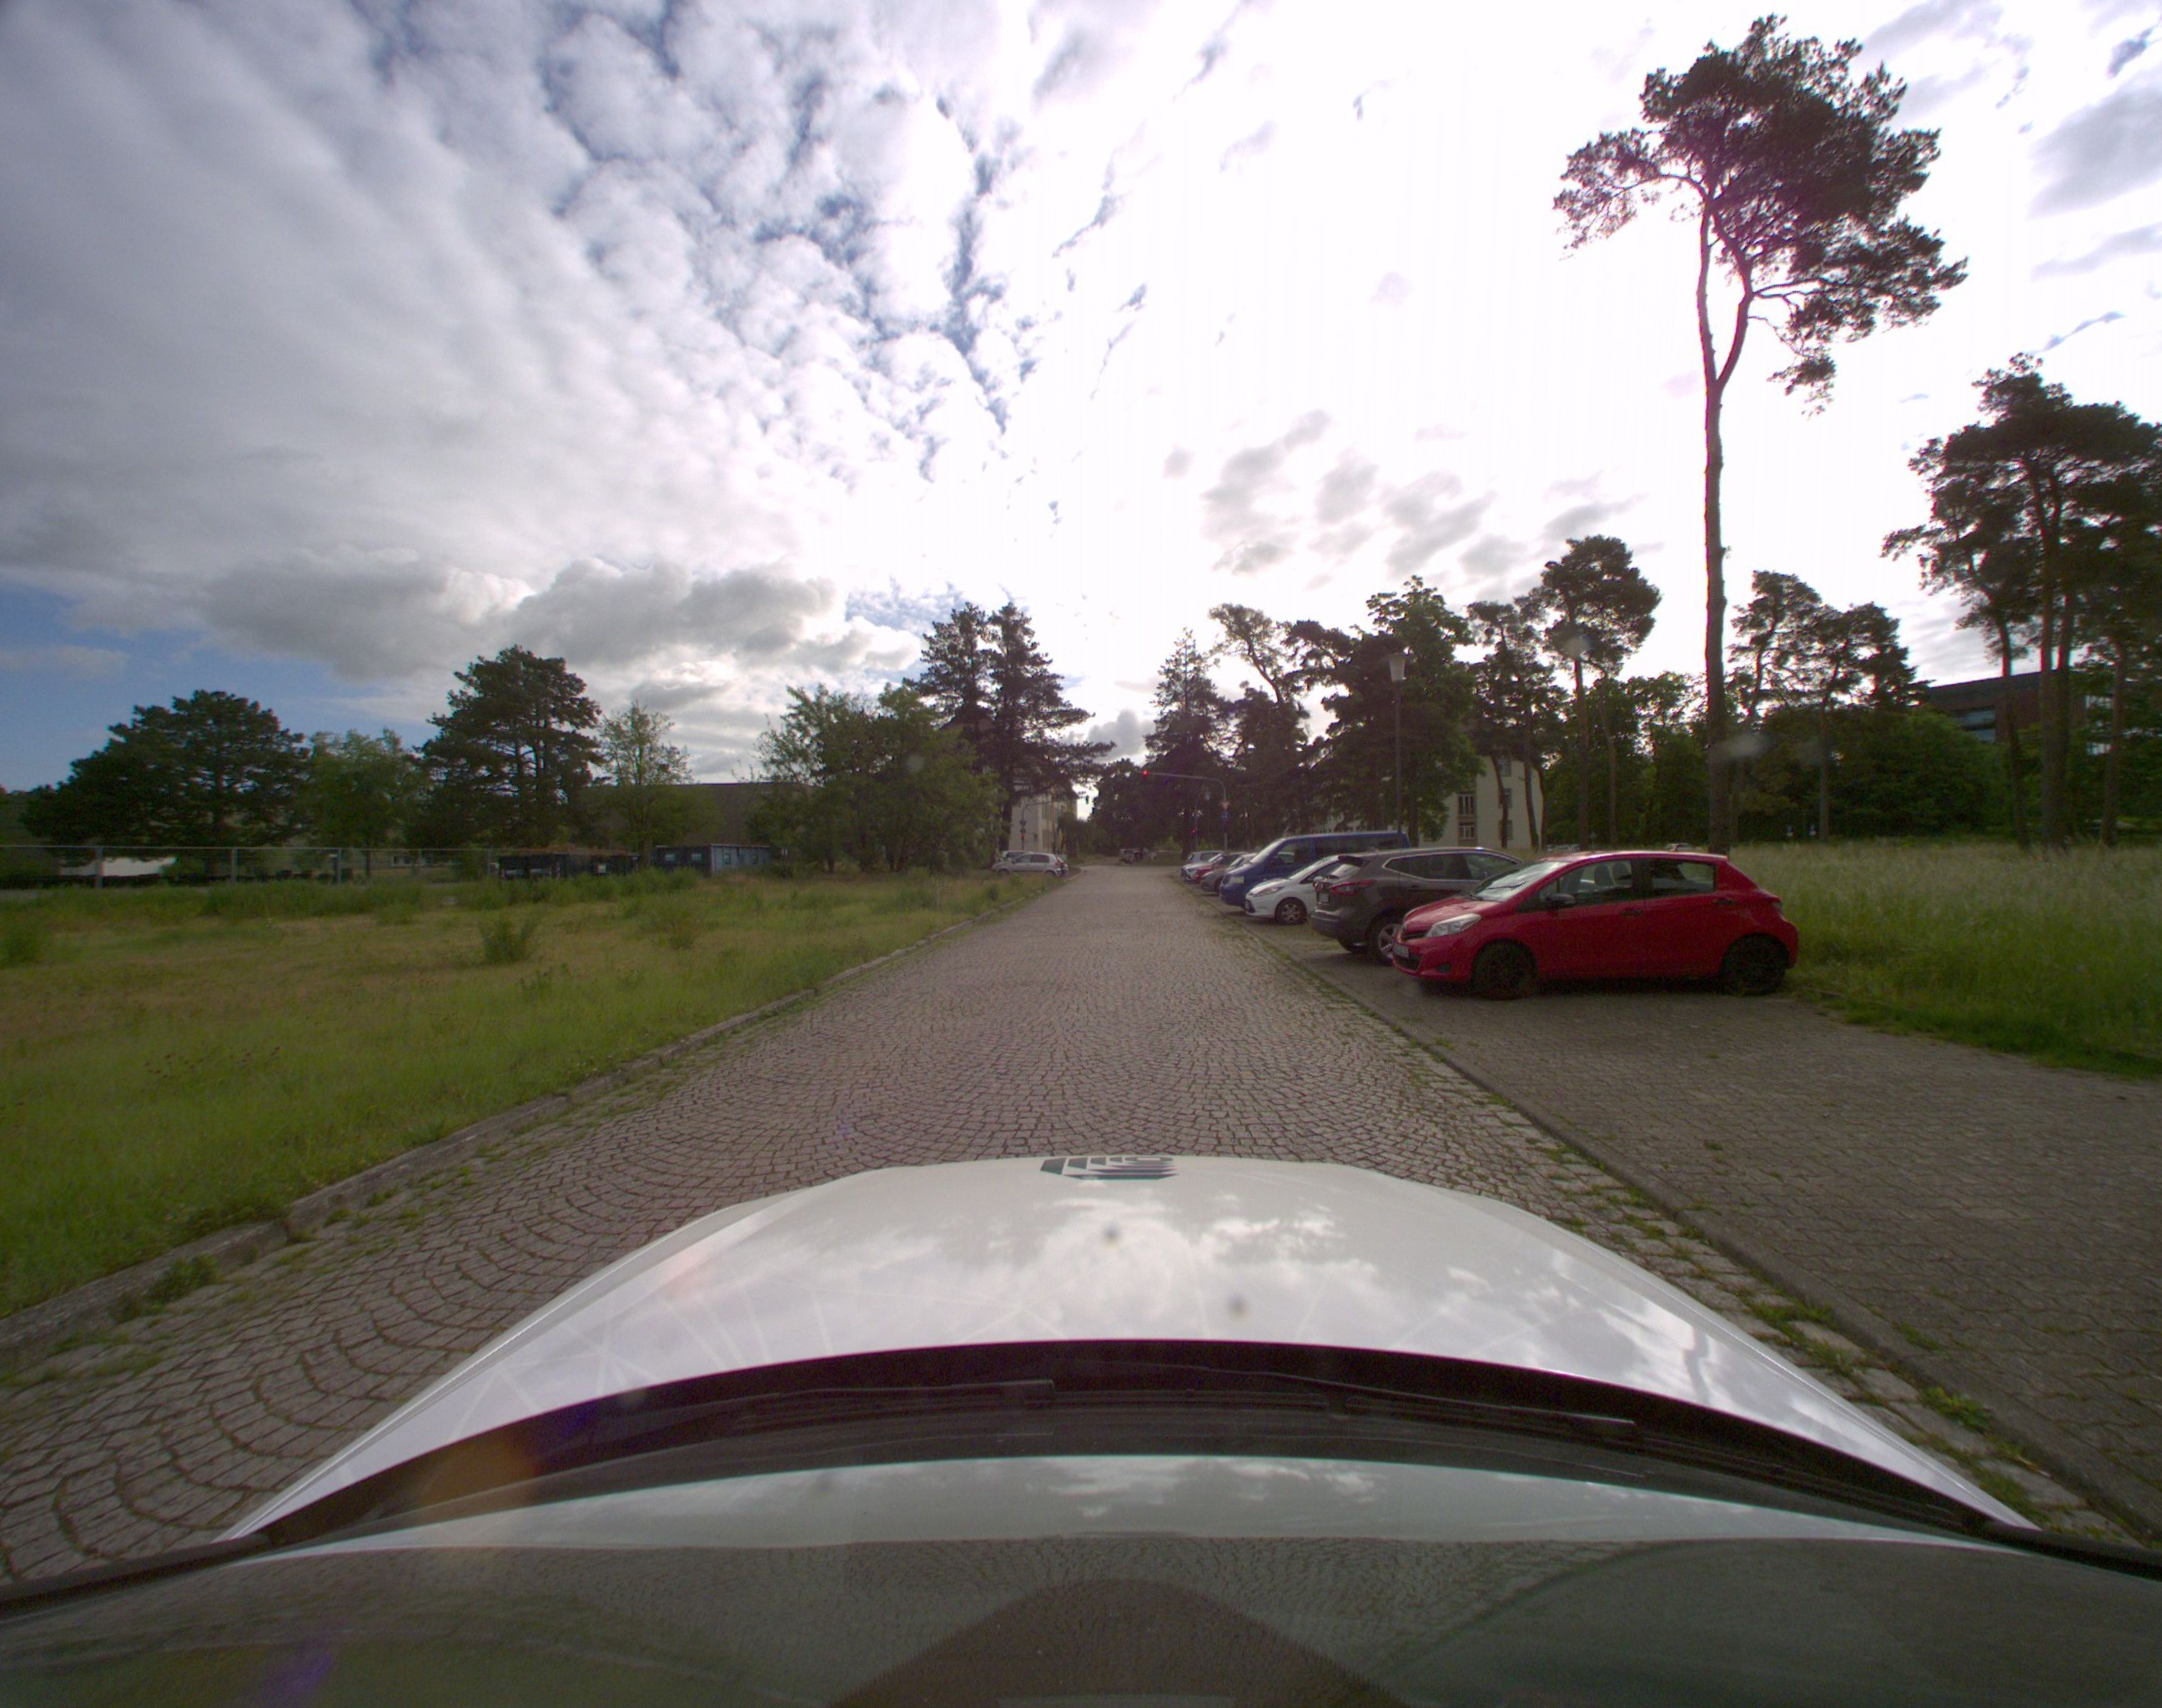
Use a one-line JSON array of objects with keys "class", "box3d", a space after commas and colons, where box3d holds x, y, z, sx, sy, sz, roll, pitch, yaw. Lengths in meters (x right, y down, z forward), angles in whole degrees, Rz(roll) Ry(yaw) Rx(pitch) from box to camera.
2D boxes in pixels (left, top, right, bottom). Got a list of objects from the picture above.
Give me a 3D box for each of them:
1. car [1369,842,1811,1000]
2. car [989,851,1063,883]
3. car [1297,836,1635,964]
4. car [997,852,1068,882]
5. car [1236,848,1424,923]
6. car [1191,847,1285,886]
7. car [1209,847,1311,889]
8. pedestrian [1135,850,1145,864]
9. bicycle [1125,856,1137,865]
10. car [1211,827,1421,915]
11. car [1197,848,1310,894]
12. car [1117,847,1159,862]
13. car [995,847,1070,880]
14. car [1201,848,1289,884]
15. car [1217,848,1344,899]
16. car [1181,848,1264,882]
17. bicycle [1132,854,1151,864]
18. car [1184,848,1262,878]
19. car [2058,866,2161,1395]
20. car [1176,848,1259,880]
[{"class": "car", "box3d": [5.406, 0.679, 9.066, 3.776, 1.460, 1.752, -2, 0, 3]}, {"class": "car", "box3d": [-2.927, 0.693, 43.915, 3.809, 1.572, 1.564, -2, 0, 0]}, {"class": "car", "box3d": [5.365, 0.616, 11.742, 4.014, 1.552, 1.751, -2, 0, 0]}, {"class": "car", "box3d": [-2.739, 0.724, 46.328, 3.806, 1.572, 1.565, -2, 0, 2]}, {"class": "car", "box3d": [5.449, 0.668, 18.128, 3.659, 1.449, 1.615, -2, 0, 0]}, {"class": "car", "box3d": [6.610, 0.522, 34.450, 3.658, 1.449, 1.524, -2, 0, 1]}, {"class": "car", "box3d": [6.924, 0.544, 31.722, 3.658, 1.449, 1.524, -2, 0, 1]}, {"class": "pedestrian", "box3d": [6.808, 0.352, 93.881, 1.030, 1.614, 0.757, 0, 0, -2]}, {"class": "bicycle", "box3d": [5.445, 0.670, 89.527, 0.623, 0.945, 1.650, 0, 0, -24]}, {"class": "car", "box3d": [5.844, 0.405, 20.707, 4.737, 1.954, 1.932, -2, 0, 1]}, {"class": "car", "box3d": [6.048, 0.580, 28.771, 3.658, 1.449, 1.524, -2, 0, 1]}, {"class": "car", "box3d": [7.832, 0.096, 111.435, 5.438, 2.013, 2.264, 0, 0, -6]}, {"class": "car", "box3d": [-2.910, 0.560, 49.331, 4.245, 1.840, 1.745, -2, 0, 2]}, {"class": "car", "box3d": [7.333, 0.511, 36.703, 3.658, 1.449, 1.524, -2, 0, 1]}, {"class": "car", "box3d": [6.302, 0.613, 25.973, 3.658, 1.449, 1.524, -2, 0, 1]}, {"class": "car", "box3d": [6.730, 0.515, 38.991, 3.661, 1.421, 1.523, -2, 0, -1]}, {"class": "bicycle", "box3d": [6.988, 0.557, 93.528, 2.130, 1.214, 0.621, 0, 0, -2]}, {"class": "car", "box3d": [7.715, 0.476, 44.460, 3.956, 1.421, 1.619, -2, 0, -1]}, {"class": "car", "box3d": [4.844, 0.702, 1.505, 3.810, 1.460, 1.780, -2, 0, 2]}, {"class": "car", "box3d": [6.988, 0.511, 41.840, 3.956, 1.421, 1.619, -2, 0, -1]}]
